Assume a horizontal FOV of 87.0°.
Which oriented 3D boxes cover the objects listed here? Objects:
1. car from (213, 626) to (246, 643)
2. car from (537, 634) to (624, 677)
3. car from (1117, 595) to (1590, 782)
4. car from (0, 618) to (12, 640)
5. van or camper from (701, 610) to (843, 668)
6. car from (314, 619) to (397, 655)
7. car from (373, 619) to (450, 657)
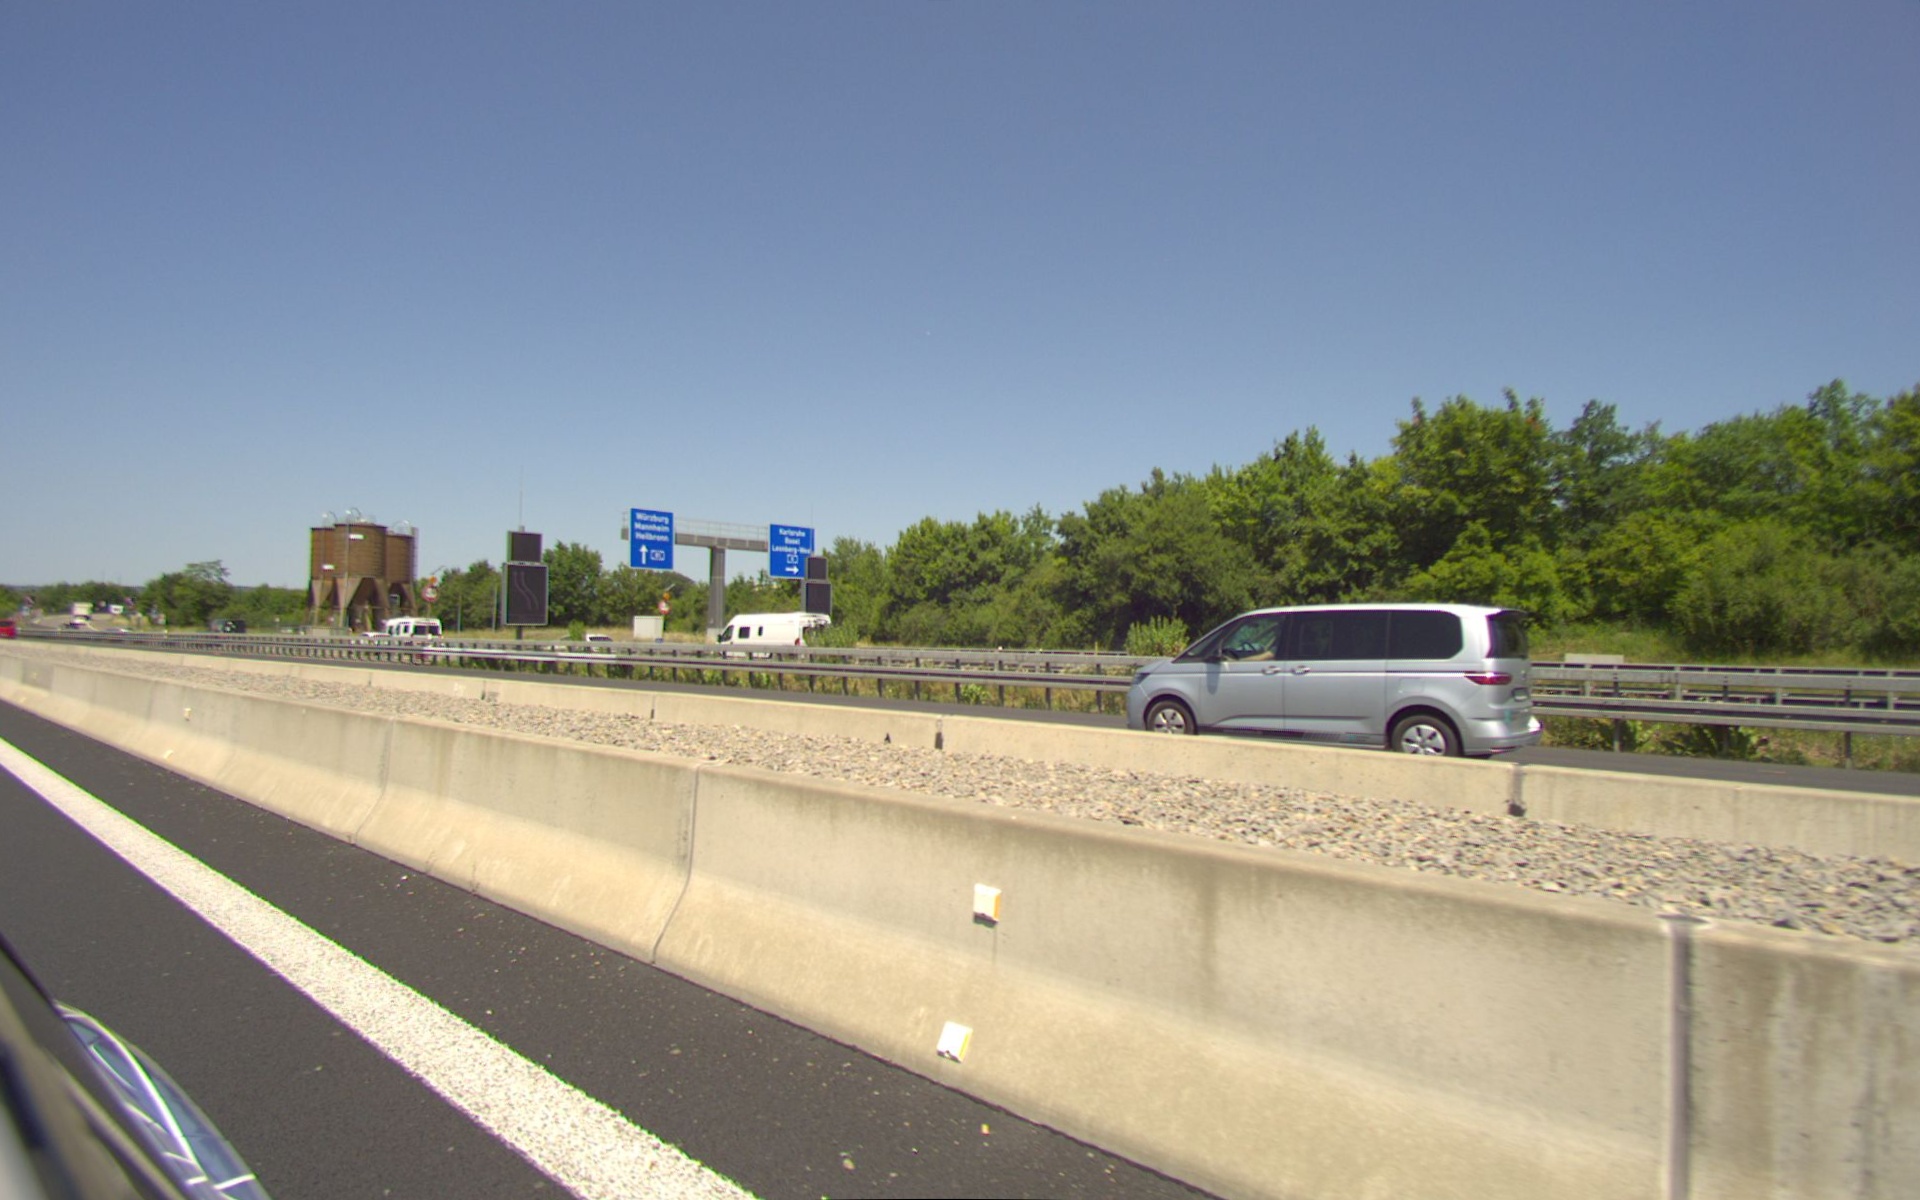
[{"bbox_3d":[-72.031,3.415,99.819,3.998,1.522,1.776,-1,0,41],"label":"car"},{"bbox_3d":[-17.474,2.501,46.514,4.450,1.741,1.776,-1,0,40],"label":"car"},{"bbox_3d":[4.634,0.968,12.496,5.083,1.856,1.972,-1,-4,42],"label":"car"},{"bbox_3d":[-90.385,2.690,94.783,3.998,2.029,1.973,-1,0,41],"label":"car"},{"bbox_3d":[-8.151,1.594,43.284,6.964,2.272,2.085,-1,0,41],"label":"van or camper"},{"bbox_3d":[-38.443,2.344,64.258,6.932,2.182,2.469,-1,-3,41],"label":"car"},{"bbox_3d":[-38.160,2.644,70.400,5.960,2.521,2.767,-2,-3,41],"label":"car"}]
